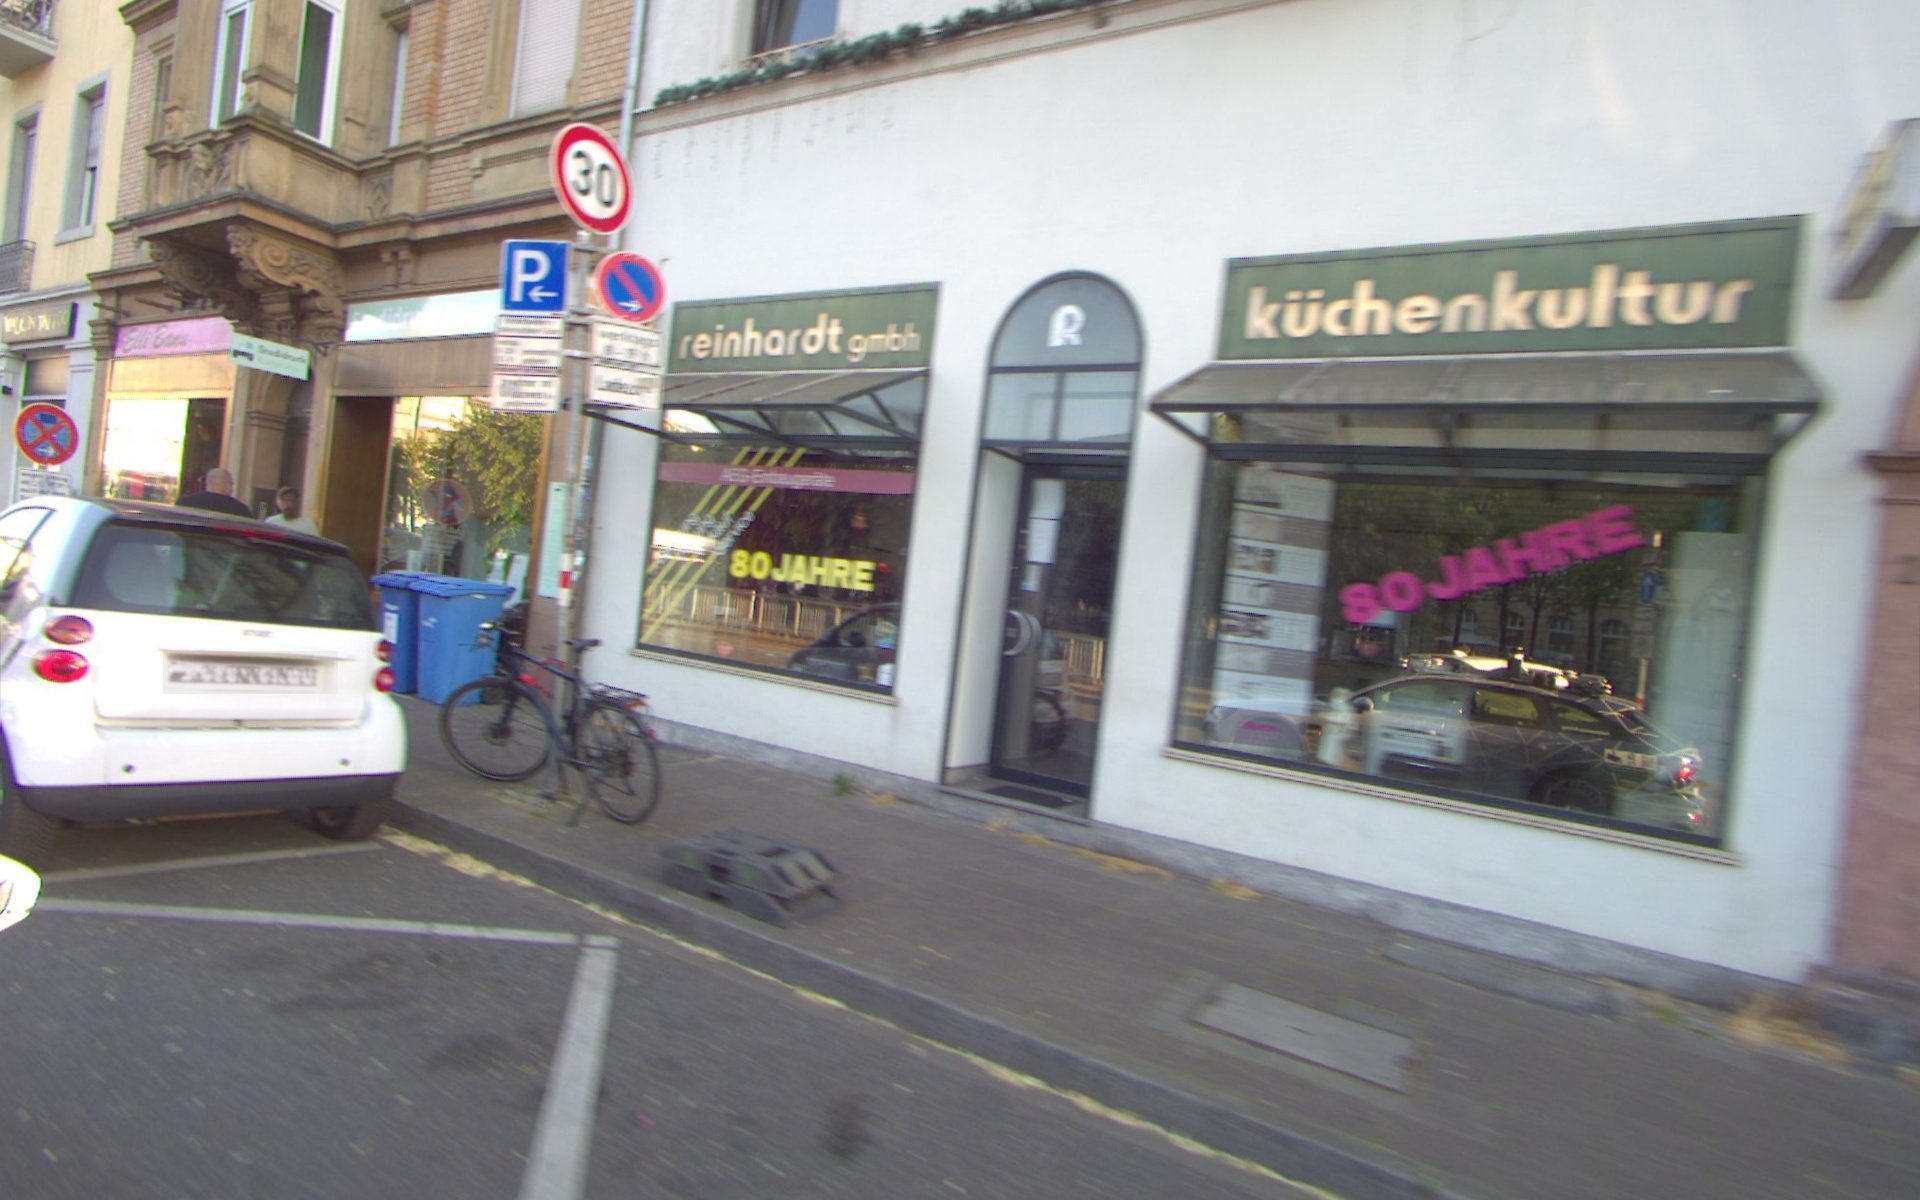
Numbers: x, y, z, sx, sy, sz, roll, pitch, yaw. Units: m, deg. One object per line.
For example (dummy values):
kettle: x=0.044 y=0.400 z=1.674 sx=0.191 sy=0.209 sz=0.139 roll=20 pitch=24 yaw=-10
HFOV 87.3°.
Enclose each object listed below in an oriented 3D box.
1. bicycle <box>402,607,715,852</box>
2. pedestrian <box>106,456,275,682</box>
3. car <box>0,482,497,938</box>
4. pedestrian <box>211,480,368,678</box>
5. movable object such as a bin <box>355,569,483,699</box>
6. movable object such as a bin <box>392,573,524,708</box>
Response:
bicycle: x=-2.322 y=0.667 z=5.710 sx=1.914 sy=1.028 sz=0.504 roll=7 pitch=1 yaw=31
pedestrian: x=-6.800 y=-0.271 z=8.898 sx=0.993 sy=1.851 sz=0.773 roll=7 pitch=2 yaw=31
car: x=-4.036 y=0.321 z=4.988 sx=3.230 sy=1.554 sz=1.534 roll=6 pitch=-2 yaw=33
pedestrian: x=-6.389 y=-0.202 z=9.591 sx=1.024 sy=1.734 sz=0.773 roll=7 pitch=2 yaw=31
movable object such as a bin: x=-4.959 y=0.309 z=9.247 sx=0.607 sy=1.084 sz=0.775 roll=7 pitch=2 yaw=31
movable object such as a bin: x=-4.420 y=0.351 z=8.874 sx=0.607 sy=1.084 sz=0.775 roll=7 pitch=2 yaw=31
